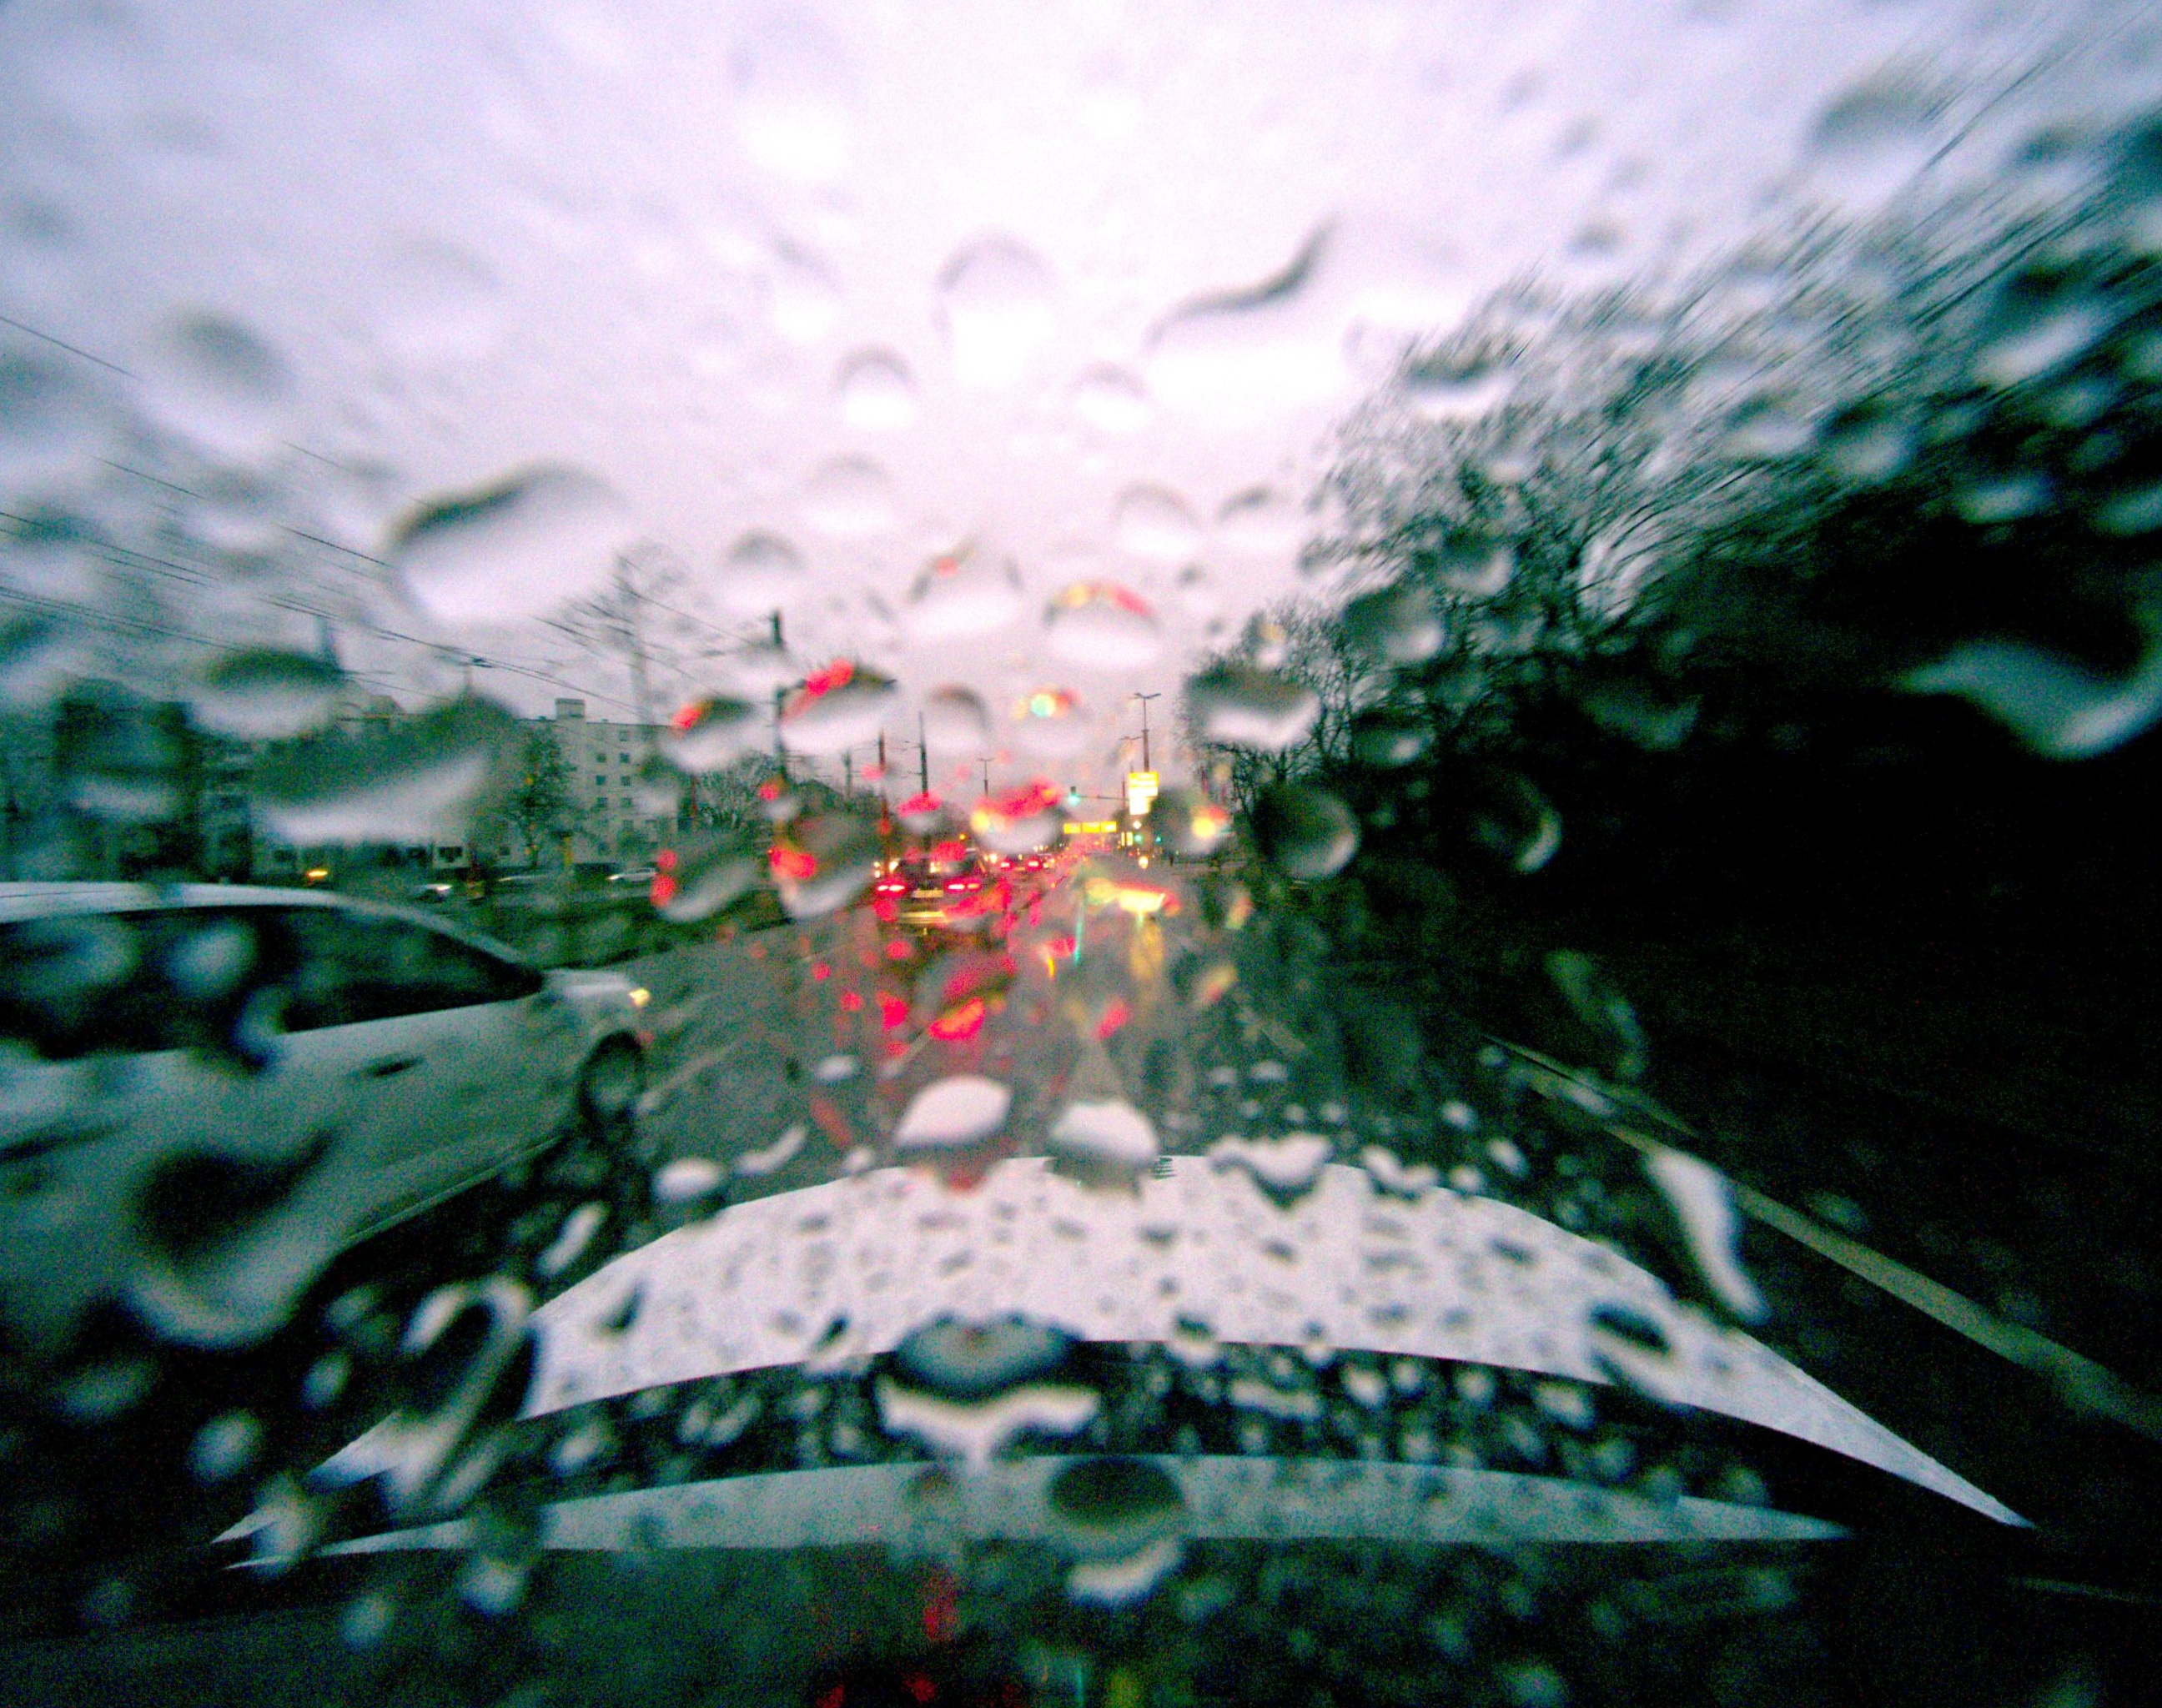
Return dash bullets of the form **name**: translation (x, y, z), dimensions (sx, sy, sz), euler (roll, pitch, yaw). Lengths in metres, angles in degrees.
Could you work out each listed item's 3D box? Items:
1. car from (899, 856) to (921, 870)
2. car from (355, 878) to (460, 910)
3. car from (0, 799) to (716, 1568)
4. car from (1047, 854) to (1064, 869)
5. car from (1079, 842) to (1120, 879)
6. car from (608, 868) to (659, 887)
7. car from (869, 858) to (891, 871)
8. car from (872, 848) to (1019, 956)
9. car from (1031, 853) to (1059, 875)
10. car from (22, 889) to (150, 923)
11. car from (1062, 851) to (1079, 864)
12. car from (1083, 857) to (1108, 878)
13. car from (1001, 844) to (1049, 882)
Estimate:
- **car**: translation (-20.600, 1.084, 98.060), dimensions (1.764, 1.553, 3.946), euler (-2, 0, 0)
- **car**: translation (-39.940, 2.354, 48.423), dimensions (4.450, 1.544, 1.836), euler (-3, 0, -26)
- **car**: translation (-3.163, 0.731, 2.903), dimensions (1.707, 1.648, 4.148), euler (-2, 0, 1)
- **car**: translation (-2.532, 0.739, 81.745), dimensions (1.500, 1.339, 4.001), euler (-2, 0, 1)
- **car**: translation (0.925, 0.302, 39.939), dimensions (1.816, 1.648, 4.468), euler (-3, 0, 1)
- **car**: translation (-43.161, 2.257, 78.605), dimensions (1.517, 1.640, 4.025), euler (-2, 0, 42)
- **car**: translation (-24.424, 1.254, 99.152), dimensions (1.613, 1.495, 4.017), euler (-2, 0, 1)
- **car**: translation (-2.313, 0.750, 15.111), dimensions (1.816, 1.648, 4.468), euler (-2, 0, 1)
- **car**: translation (-2.817, 0.769, 64.225), dimensions (1.816, 1.648, 4.001), euler (-2, 0, 1)
- **car**: translation (-54.056, 2.793, 44.349), dimensions (4.008, 1.544, 1.698), euler (-3, 0, -26)
- **car**: translation (-1.271, 0.396, 100.644), dimensions (1.816, 1.504, 4.001), euler (-2, 0, 1)
- **car**: translation (1.181, 1.086, 67.419), dimensions (1.986, 1.662, 4.001), euler (-1, 0, 1)
- **car**: translation (-2.541, 0.394, 37.931), dimensions (1.816, 1.648, 4.001), euler (-2, 0, 1)
